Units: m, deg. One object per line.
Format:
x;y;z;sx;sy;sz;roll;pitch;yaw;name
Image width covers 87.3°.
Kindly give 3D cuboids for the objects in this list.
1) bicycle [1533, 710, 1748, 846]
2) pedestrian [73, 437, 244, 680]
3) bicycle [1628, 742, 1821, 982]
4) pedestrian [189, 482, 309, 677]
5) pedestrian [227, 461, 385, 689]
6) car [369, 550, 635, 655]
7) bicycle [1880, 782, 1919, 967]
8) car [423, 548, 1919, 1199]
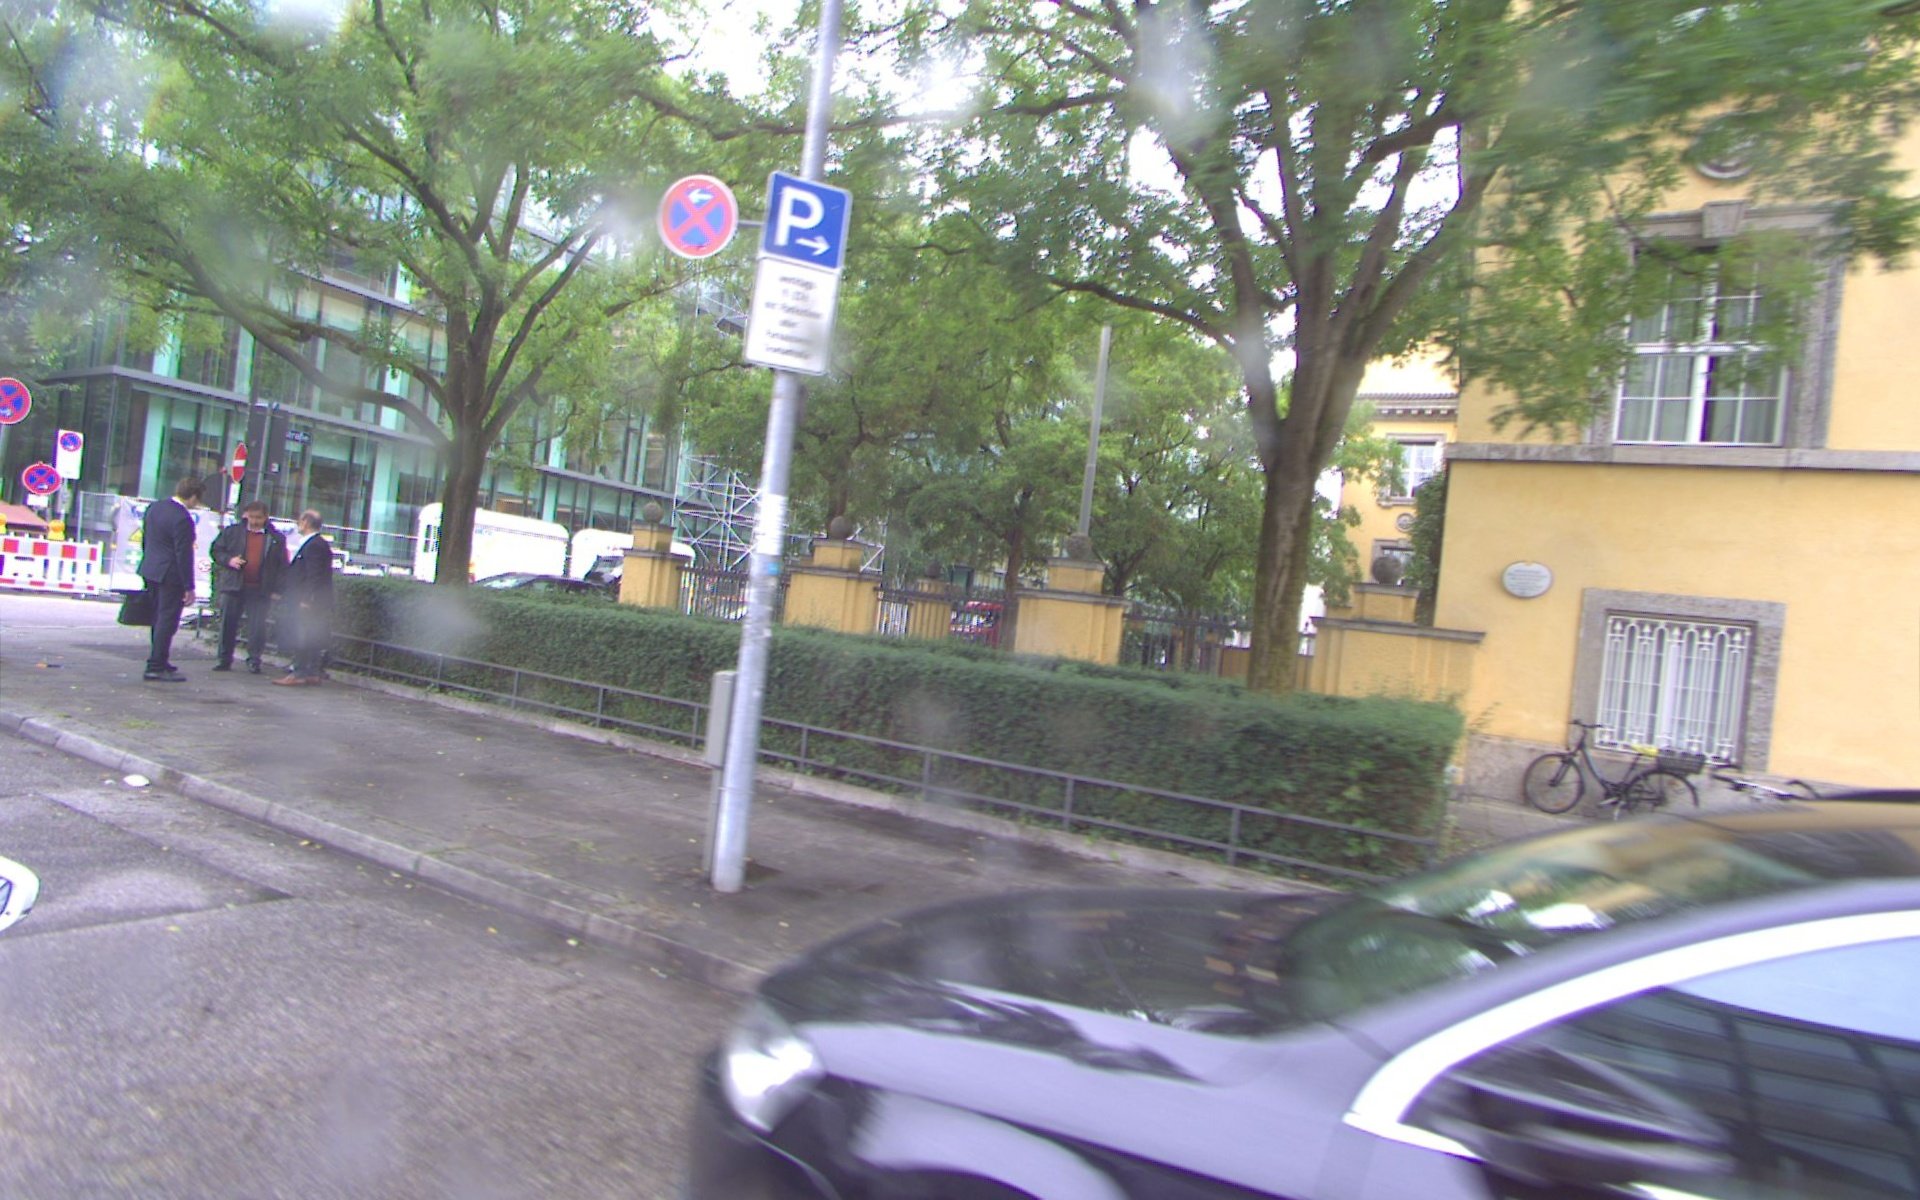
7.767;2.004;11.588;1.868;1.168;0.543;7;0;27;bicycle
-7.596;-0.383;9.544;1.037;2.161;0.744;6;0;27;pedestrian
4.964;1.614;6.663;0.463;1.127;2.036;7;0;24;bicycle
-7.623;-0.210;10.837;0.736;1.931;1.049;6;0;-27;pedestrian
-6.612;-0.245;10.178;1.037;2.161;0.744;6;0;27;pedestrian
-8.582;0.120;19.225;1.838;1.503;4.211;6;-2;32;car
6.367;1.815;6.215;0.463;1.127;1.935;7;0;29;bicycle
1.634;1.010;1.620;4.884;1.506;1.778;7;-3;25;car
